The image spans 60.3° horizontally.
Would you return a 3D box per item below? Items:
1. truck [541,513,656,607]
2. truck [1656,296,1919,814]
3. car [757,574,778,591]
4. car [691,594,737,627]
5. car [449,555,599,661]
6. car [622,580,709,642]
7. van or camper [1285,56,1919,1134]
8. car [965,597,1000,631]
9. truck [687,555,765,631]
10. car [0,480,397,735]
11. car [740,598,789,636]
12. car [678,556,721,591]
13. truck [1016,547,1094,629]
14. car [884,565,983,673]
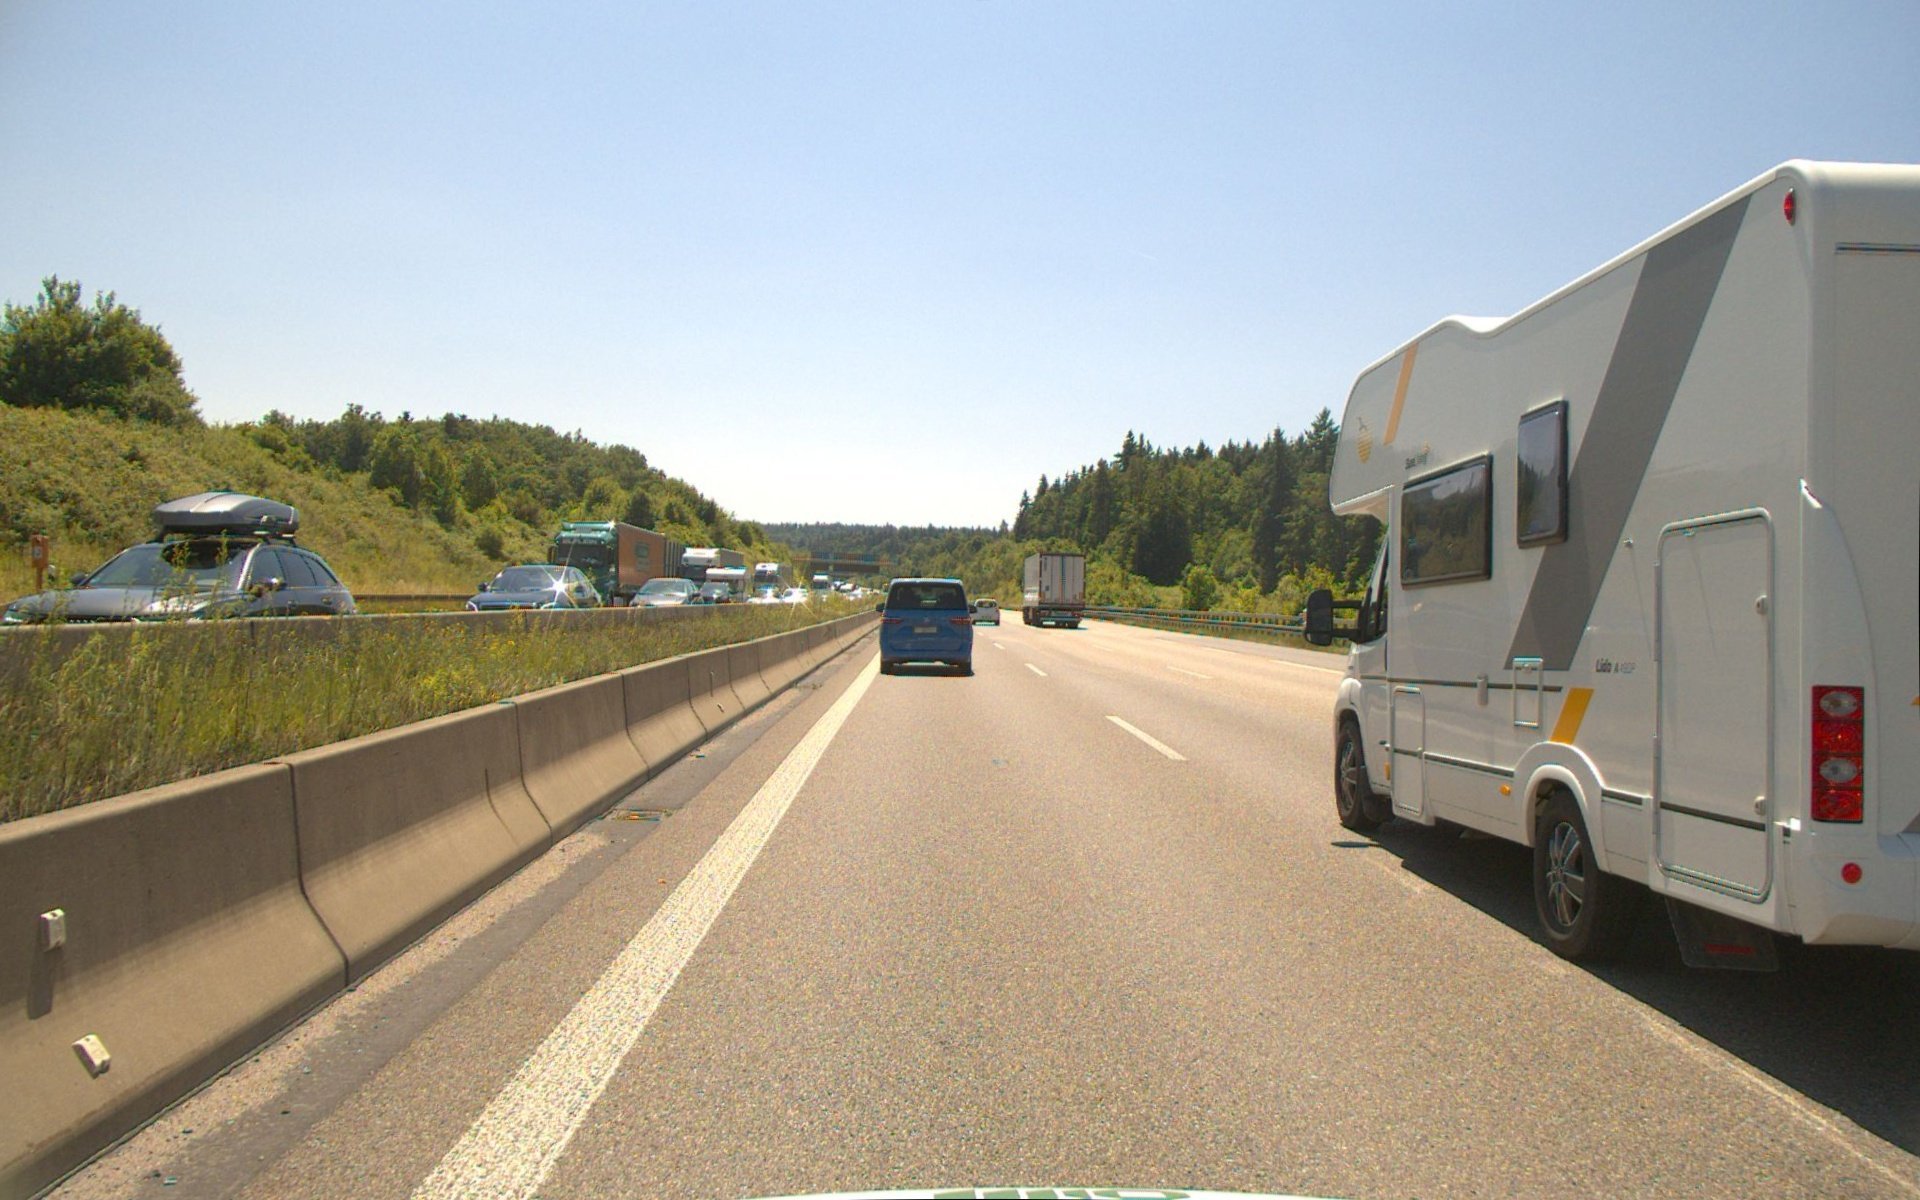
[{"bbox_3d":[-16.870,-1.724,78.172,2.932,3.869,12.157,4,0,-2],"label":"truck"},{"bbox_3d":[8.172,-0.305,11.550,2.868,3.637,8.525,1,1,-1],"label":"truck"},{"bbox_3d":[-18.728,-1.673,161.168,1.571,1.495,3.896,4,0,-1],"label":"car"},{"bbox_3d":[-12.776,0.530,86.060,1.752,1.573,3.999,4,0,-1],"label":"car"},{"bbox_3d":[-8.260,0.150,31.704,1.752,1.783,3.999,4,0,-1],"label":"car"},{"bbox_3d":[-8.399,0.309,47.467,1.752,1.573,3.999,4,0,-1],"label":"car"},{"bbox_3d":[3.739,0.000,8.440,2.550,3.132,7.180,1,0,-1],"label":"van or camper"},{"bbox_3d":[1.290,0.790,96.731,1.781,1.825,3.893,4,0,-2],"label":"car"},{"bbox_3d":[-13.267,-0.368,94.969,2.932,3.869,12.157,4,0,-2],"label":"truck"},{"bbox_3d":[-7.585,0.063,16.696,1.953,2.048,5.162,4,0,-1],"label":"car"},{"bbox_3d":[-9.098,0.775,77.066,1.752,1.573,3.999,4,0,-1],"label":"car"},{"bbox_3d":[-17.441,-1.784,111.028,2.044,2.099,5.058,4,0,-1],"label":"car"},{"bbox_3d":[5.316,-0.633,94.254,3.417,4.242,8.639,4,0,-1],"label":"truck"},{"bbox_3d":[-0.558,0.381,34.267,1.870,2.049,3.999,2,0,-1],"label":"car"}]
